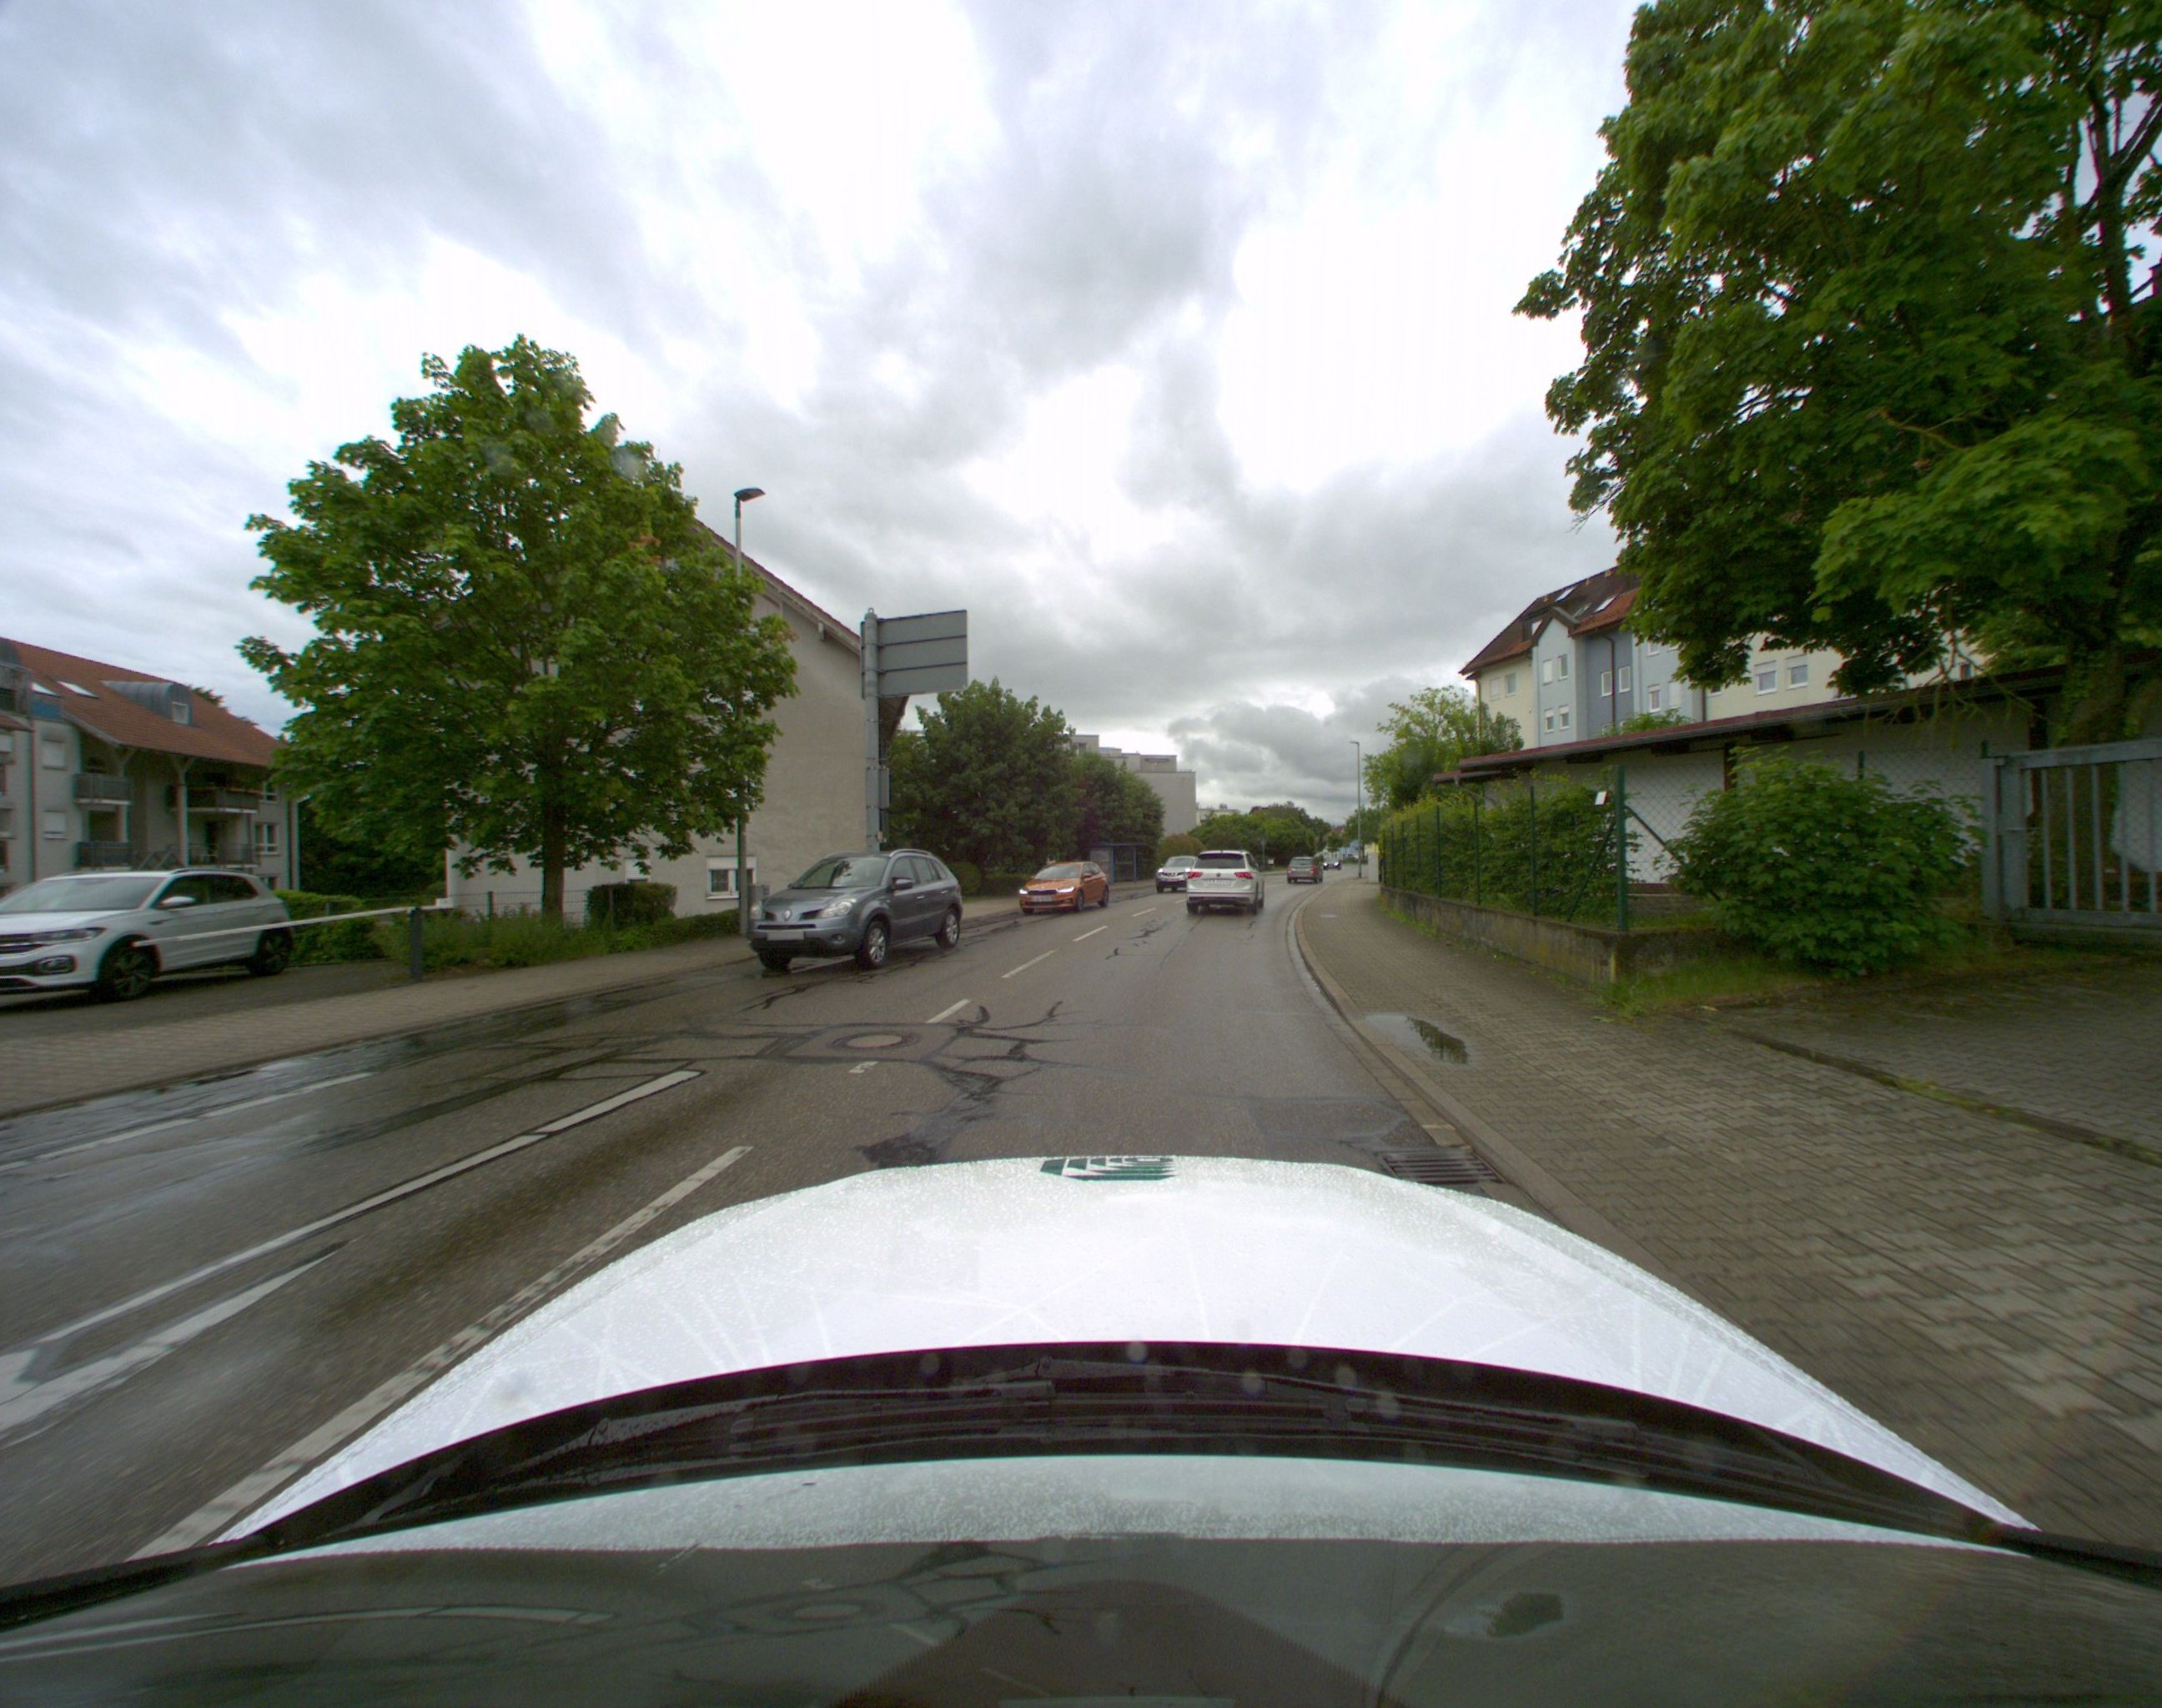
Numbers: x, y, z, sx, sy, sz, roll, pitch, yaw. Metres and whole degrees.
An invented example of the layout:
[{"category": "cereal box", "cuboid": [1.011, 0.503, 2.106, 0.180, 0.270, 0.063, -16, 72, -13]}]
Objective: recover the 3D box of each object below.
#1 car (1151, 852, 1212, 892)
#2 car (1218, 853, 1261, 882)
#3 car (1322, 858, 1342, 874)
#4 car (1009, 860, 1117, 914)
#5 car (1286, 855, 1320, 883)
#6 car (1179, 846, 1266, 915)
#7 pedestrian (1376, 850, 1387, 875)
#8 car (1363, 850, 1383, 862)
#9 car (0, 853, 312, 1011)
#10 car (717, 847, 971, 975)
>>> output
[{"category": "car", "cuboid": [4.619, 0.783, 36.827, 1.886, 1.657, 4.135, -2, -1, 19]}, {"category": "car", "cuboid": [9.461, 0.767, 48.323, 1.886, 1.590, 4.135, -2, -1, 19]}, {"category": "car", "cuboid": [28.446, 1.362, 92.305, 1.886, 1.657, 4.135, -2, -1, 20]}, {"category": "car", "cuboid": [-0.433, 0.938, 24.432, 1.886, 1.439, 4.135, -2, -1, 19]}, {"category": "car", "cuboid": [12.628, 0.886, 46.184, 1.751, 1.510, 4.017, -1, -3, 17]}, {"category": "car", "cuboid": [3.986, 0.637, 22.420, 1.906, 1.722, 4.283, 0, 0, 16]}, {"category": "pedestrian", "cuboid": [21.013, 0.597, 56.933, 0.564, 1.672, 0.727, -2, -3, 30]}, {"category": "car", "cuboid": [39.606, 0.302, 110.519, 1.992, 1.457, 4.012, -1, -2, 12]}, {"category": "car", "cuboid": [-12.266, 0.905, 10.365, 1.999, 1.651, 3.975, 0, -3, -17]}, {"category": "car", "cuboid": [-3.460, 0.763, 12.875, 1.888, 1.657, 4.283, -2, 0, 14]}]
